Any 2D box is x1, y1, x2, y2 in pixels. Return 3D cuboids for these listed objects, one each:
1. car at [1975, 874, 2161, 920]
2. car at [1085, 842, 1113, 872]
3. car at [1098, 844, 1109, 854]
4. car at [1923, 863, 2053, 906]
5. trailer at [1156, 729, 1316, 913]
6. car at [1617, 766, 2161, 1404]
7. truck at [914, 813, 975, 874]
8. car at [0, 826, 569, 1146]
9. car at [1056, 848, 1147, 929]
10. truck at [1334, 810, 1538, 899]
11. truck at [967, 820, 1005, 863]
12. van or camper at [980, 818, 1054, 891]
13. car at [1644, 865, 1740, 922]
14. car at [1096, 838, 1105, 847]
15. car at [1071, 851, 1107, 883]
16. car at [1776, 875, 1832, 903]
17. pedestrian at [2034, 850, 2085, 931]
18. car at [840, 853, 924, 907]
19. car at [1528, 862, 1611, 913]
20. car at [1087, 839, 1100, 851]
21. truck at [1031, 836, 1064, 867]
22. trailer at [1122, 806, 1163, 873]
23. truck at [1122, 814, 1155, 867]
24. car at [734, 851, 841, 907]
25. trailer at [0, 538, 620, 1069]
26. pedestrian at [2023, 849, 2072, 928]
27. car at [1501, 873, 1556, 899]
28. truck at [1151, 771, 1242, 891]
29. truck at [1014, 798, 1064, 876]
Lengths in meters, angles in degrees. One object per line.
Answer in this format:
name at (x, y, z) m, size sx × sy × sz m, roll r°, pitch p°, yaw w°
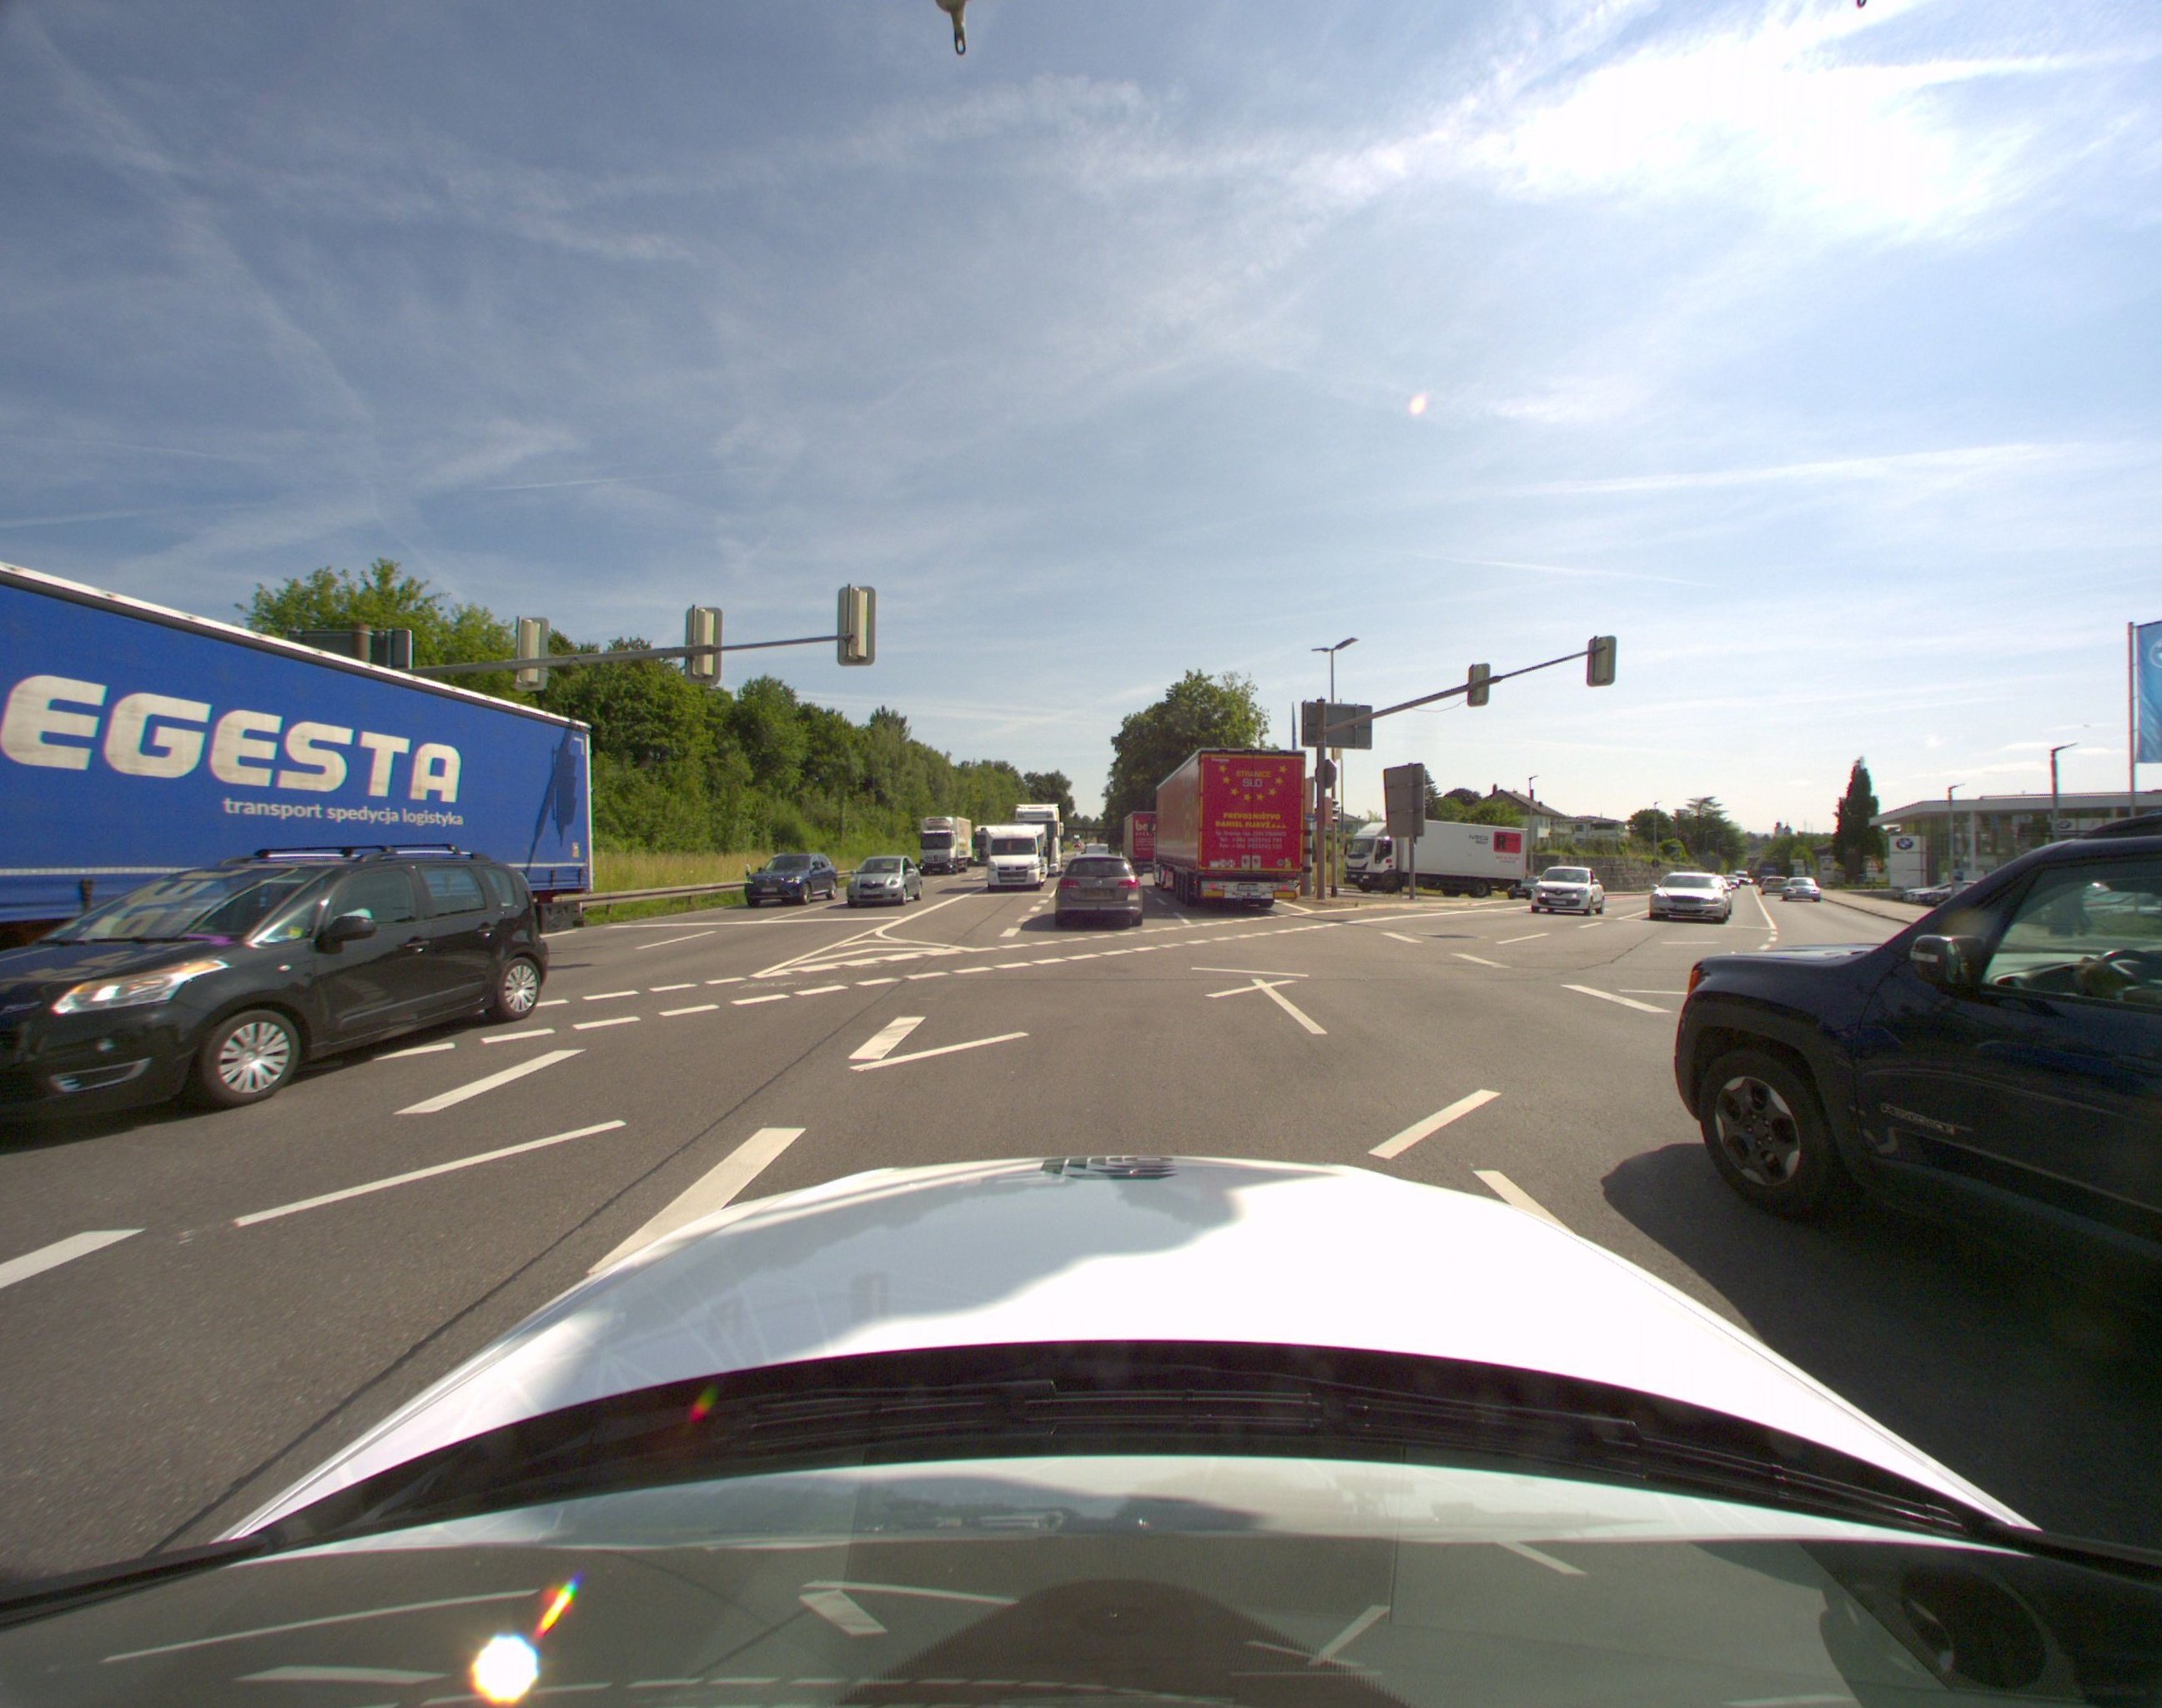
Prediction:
car at (38.833, 1.663, 32.119) m, size 4.416 × 1.618 × 2.105 m, roll -1°, pitch 0°, yaw 34°
car at (1.166, 0.177, 55.650) m, size 1.765 × 1.936 × 3.977 m, roll -1°, pitch 0°, yaw 0°
car at (4.325, -0.973, 156.888) m, size 1.987 × 2.013 × 3.999 m, roll -1°, pitch 0°, yaw 0°
car at (46.462, 1.549, 41.854) m, size 4.028 × 2.035 × 2.082 m, roll -1°, pitch 0°, yaw 34°
trailer at (4.277, -0.819, 25.930) m, size 2.829 × 4.365 × 13.170 m, roll 1°, pitch 0°, yaw 1°
car at (3.672, 0.578, 2.277) m, size 1.764 × 1.654 × 4.001 m, roll -1°, pitch 0°, yaw 1°
truck at (-9.682, -0.701, 58.919) m, size 2.720 × 3.999 × 9.618 m, roll -1°, pitch 0°, yaw 0°
car at (-6.314, 0.724, 6.411) m, size 1.987 × 1.726 × 3.999 m, roll -1°, pitch 0°, yaw 0°
car at (0.386, 0.650, 17.506) m, size 1.686 × 1.513 × 3.999 m, roll -1°, pitch 0°, yaw 0°
truck at (17.644, 0.098, 40.431) m, size 9.691 × 3.628 × 2.752 m, roll 4°, pitch -1°, yaw -17°
truck at (-9.662, -1.251, 83.999) m, size 2.821 × 4.116 × 9.679 m, roll -1°, pitch 0°, yaw -1°
van or camper at (-2.443, -0.014, 33.169) m, size 2.322 × 2.600 × 6.979 m, roll -1°, pitch 0°, yaw 1°
car at (18.620, 1.145, 24.718) m, size 1.975 × 1.505 × 5.030 m, roll 1°, pitch -1°, yaw 41°
car at (4.490, -2.768, 191.070) m, size 1.987 × 2.013 × 3.999 m, roll -1°, pitch 0°, yaw 0°
car at (0.372, 0.642, 42.722) m, size 1.765 × 1.513 × 3.999 m, roll -1°, pitch 0°, yaw 0°
car at (45.372, 2.181, 51.163) m, size 1.974 × 1.575 × 4.025 m, roll 2°, pitch 0°, yaw 32°
pedestrian at (24.818, 0.902, 20.669) m, size 0.656 × 2.013 × 0.884 m, roll 0°, pitch 0°, yaw 38°
car at (-6.080, 0.732, 25.348) m, size 1.721 × 1.502 × 3.997 m, roll -1°, pitch 0°, yaw -2°
car at (15.832, 1.067, 26.328) m, size 1.689 × 1.504 × 3.778 m, roll 1°, pitch -1°, yaw 40°
car at (2.095, -1.523, 135.849) m, size 1.987 × 2.013 × 3.999 m, roll -1°, pitch 0°, yaw 0°
truck at (-2.600, -0.177, 64.459) m, size 2.219 × 2.267 × 6.500 m, roll -1°, pitch 0°, yaw 1°
trailer at (4.335, -0.973, 59.426) m, size 2.386 × 4.243 × 13.084 m, roll -1°, pitch 0°, yaw 2°
truck at (4.615, -1.065, 66.001) m, size 2.397 × 4.127 × 5.524 m, roll -1°, pitch 0°, yaw 2°
car at (-9.673, 0.768, 27.204) m, size 1.987 × 1.676 × 4.306 m, roll -1°, pitch 0°, yaw -1°
trailer at (-9.844, -0.366, 7.520) m, size 3.083 × 4.079 × 14.124 m, roll -1°, pitch 0°, yaw 0°
pedestrian at (25.412, 0.884, 21.426) m, size 0.656 × 2.013 × 0.884 m, roll 0°, pitch 0°, yaw 38°
car at (26.164, 1.838, 47.535) m, size 1.974 × 1.460 × 4.347 m, roll -1°, pitch -2°, yaw 40°
truck at (4.391, -0.854, 32.176) m, size 2.860 × 4.280 × 5.840 m, roll 1°, pitch 0°, yaw 1°
truck at (-2.314, -0.936, 46.566) m, size 2.529 × 4.087 × 6.263 m, roll -1°, pitch 0°, yaw -1°
